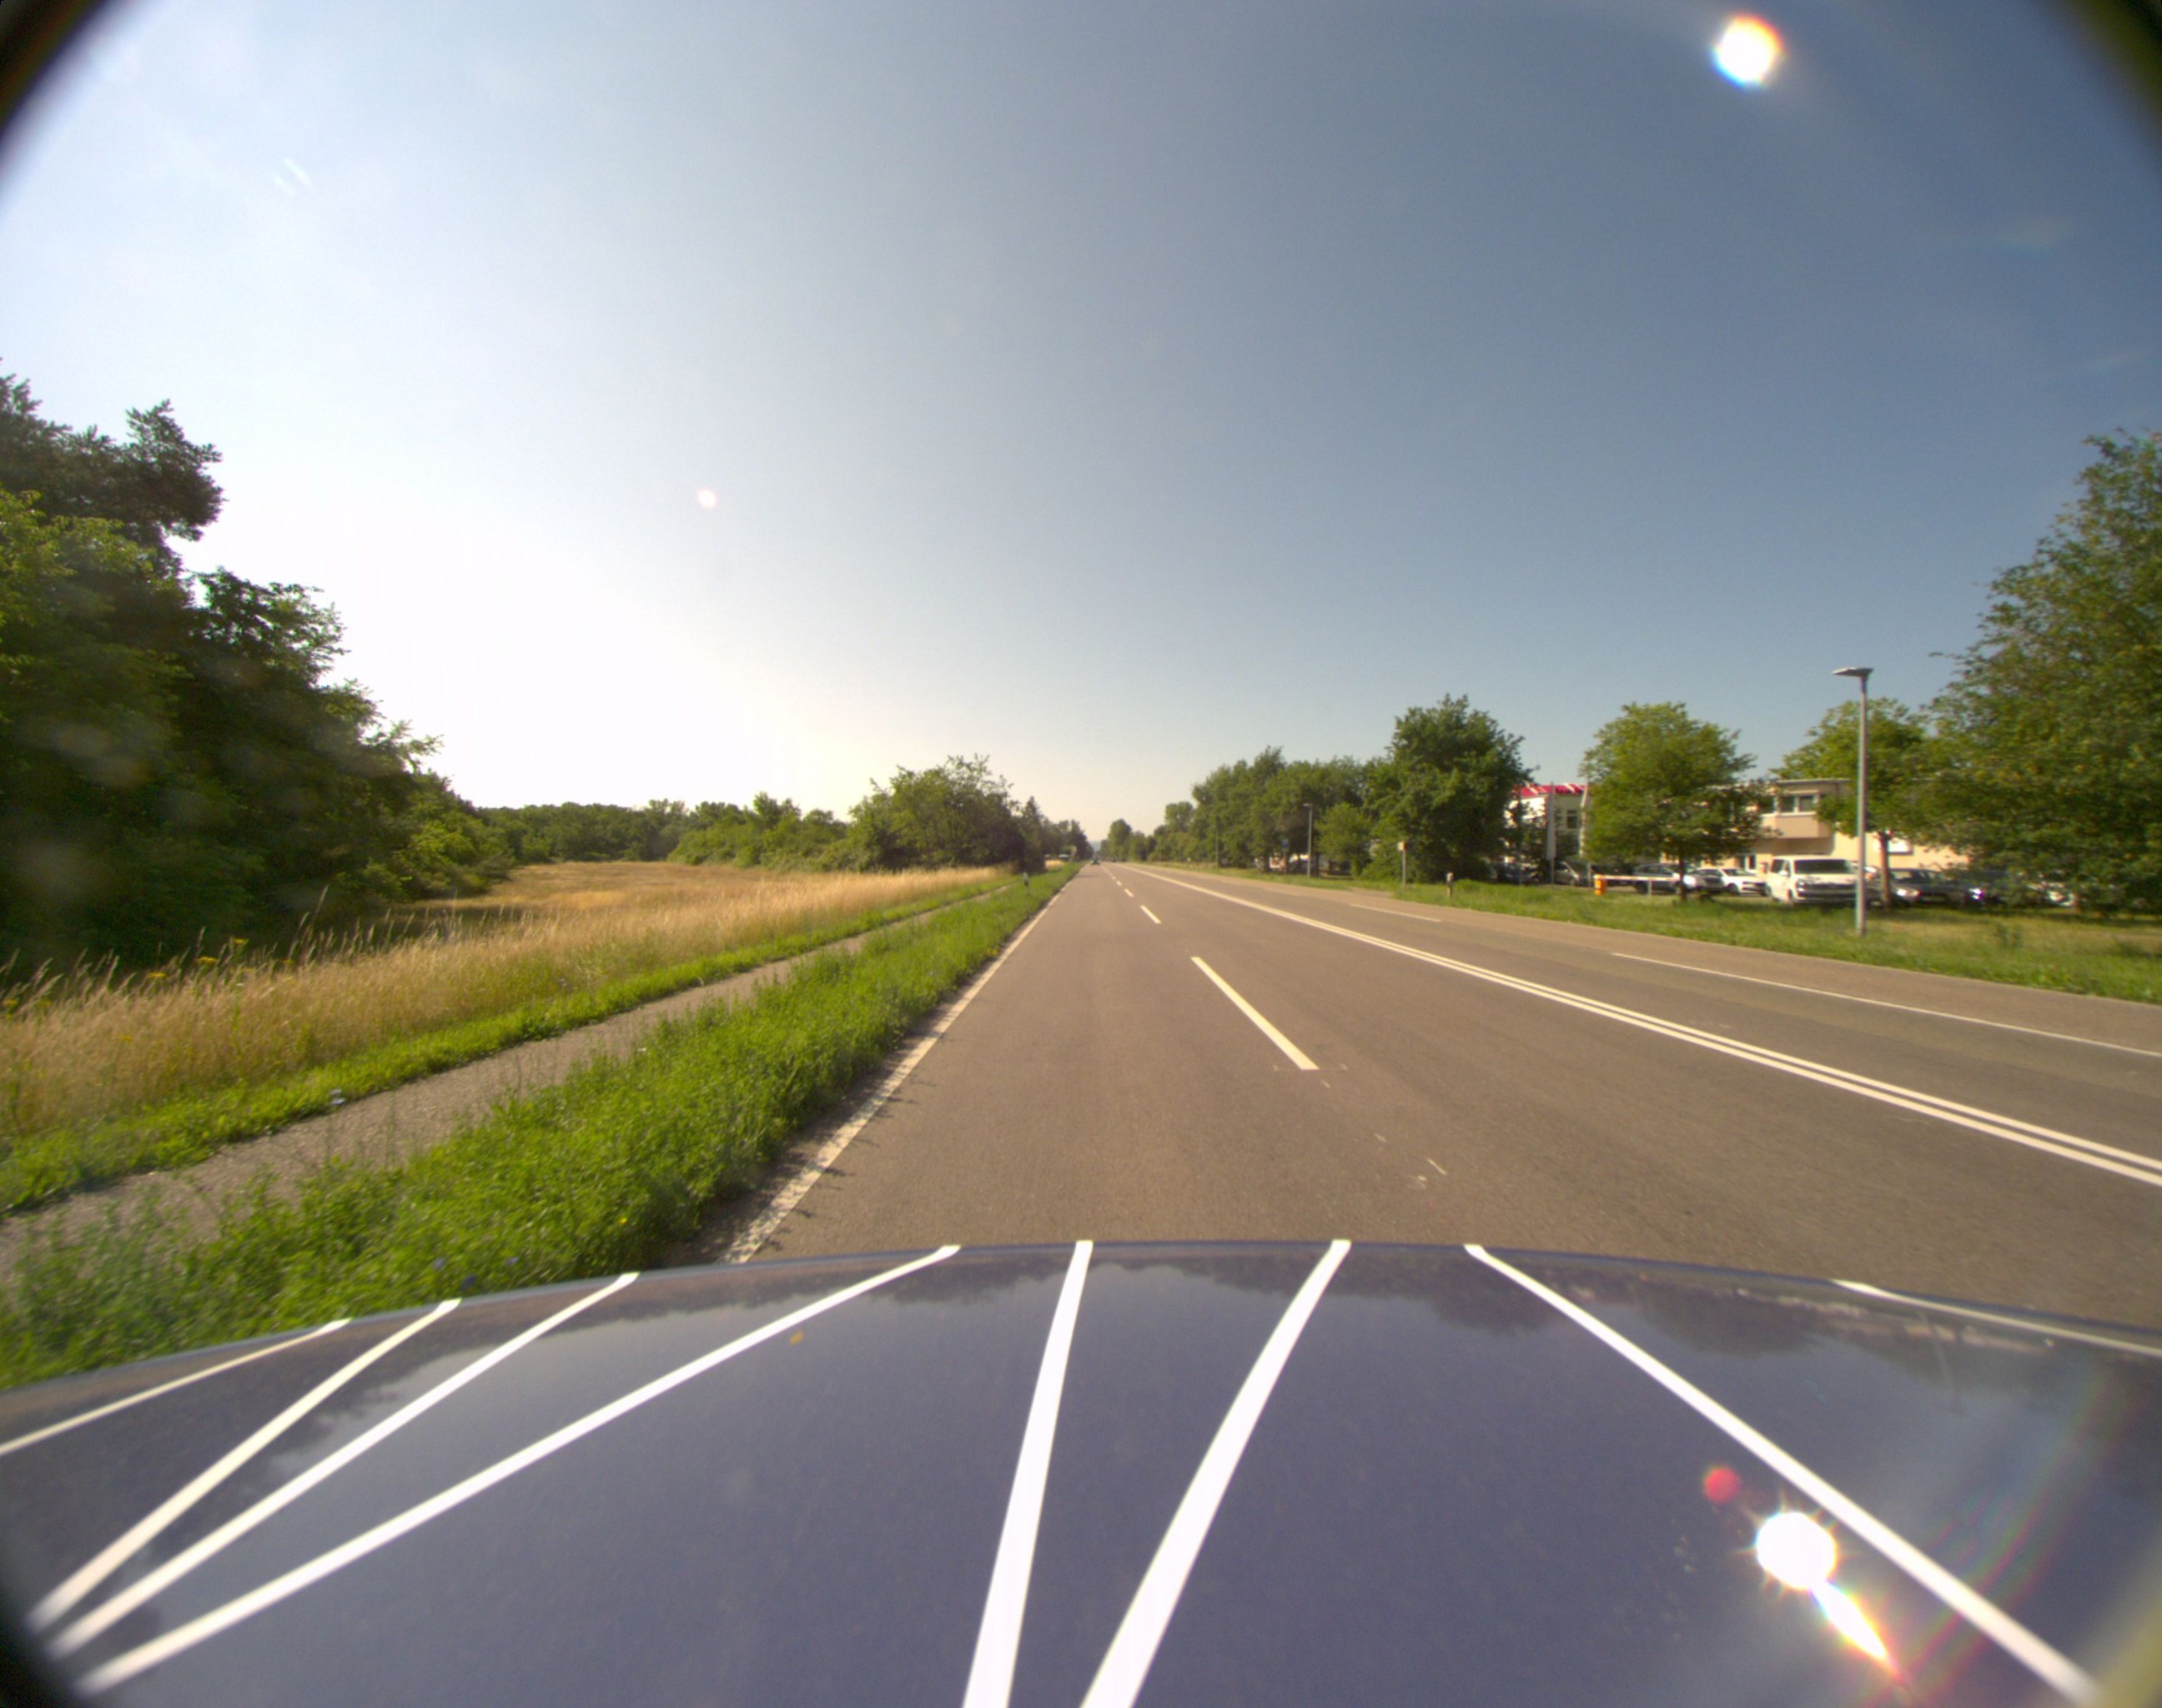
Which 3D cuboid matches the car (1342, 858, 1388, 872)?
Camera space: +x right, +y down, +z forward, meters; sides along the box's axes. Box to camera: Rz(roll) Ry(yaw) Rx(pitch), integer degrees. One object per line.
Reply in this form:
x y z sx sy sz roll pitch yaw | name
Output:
31.272 1.214 83.710 4.361 1.318 1.857 3 1 1 | car

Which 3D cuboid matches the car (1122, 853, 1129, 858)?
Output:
14.621 0.509 249.778 1.830 1.662 4.389 1 0 0 | car

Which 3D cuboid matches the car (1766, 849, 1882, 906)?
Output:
27.899 0.788 28.727 2.068 1.918 5.025 0 1 32 | car

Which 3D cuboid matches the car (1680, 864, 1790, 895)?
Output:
32.872 1.246 38.366 1.934 1.386 4.191 0 0 0 | car

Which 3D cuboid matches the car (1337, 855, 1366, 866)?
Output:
33.379 0.774 93.924 1.792 1.341 4.662 1 0 -1 | car

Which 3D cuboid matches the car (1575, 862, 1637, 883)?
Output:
37.268 1.279 54.071 1.676 1.342 4.000 0 0 1 | car

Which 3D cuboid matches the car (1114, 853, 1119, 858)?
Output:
11.324 0.543 243.811 1.520 1.442 3.775 1 0 1 | car

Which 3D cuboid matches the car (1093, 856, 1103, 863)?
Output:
3.337 1.060 148.728 1.768 1.403 4.001 0 -1 2 | car

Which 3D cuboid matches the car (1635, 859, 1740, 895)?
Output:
30.535 1.122 38.442 1.934 1.642 4.191 0 0 0 | car

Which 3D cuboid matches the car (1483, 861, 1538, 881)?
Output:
30.557 1.205 54.146 1.676 1.342 4.000 0 0 1 | car

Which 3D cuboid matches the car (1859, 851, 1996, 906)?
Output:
31.442 0.831 28.425 2.068 1.796 5.025 0 1 32 | car

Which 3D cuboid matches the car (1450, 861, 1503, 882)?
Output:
27.867 1.224 53.687 1.676 1.342 4.000 0 0 1 | car

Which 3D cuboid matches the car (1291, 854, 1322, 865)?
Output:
32.615 0.805 109.942 3.997 1.492 1.758 0 0 1 | car

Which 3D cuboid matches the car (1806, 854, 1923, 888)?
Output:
41.047 0.842 39.969 1.861 1.648 4.169 -1 0 1 | car

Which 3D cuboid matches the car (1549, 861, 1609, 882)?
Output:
34.803 1.195 53.222 1.676 1.342 4.000 0 0 1 | car

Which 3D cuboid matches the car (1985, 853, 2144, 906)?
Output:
37.361 0.888 29.085 2.068 1.796 5.025 0 1 32 | car
